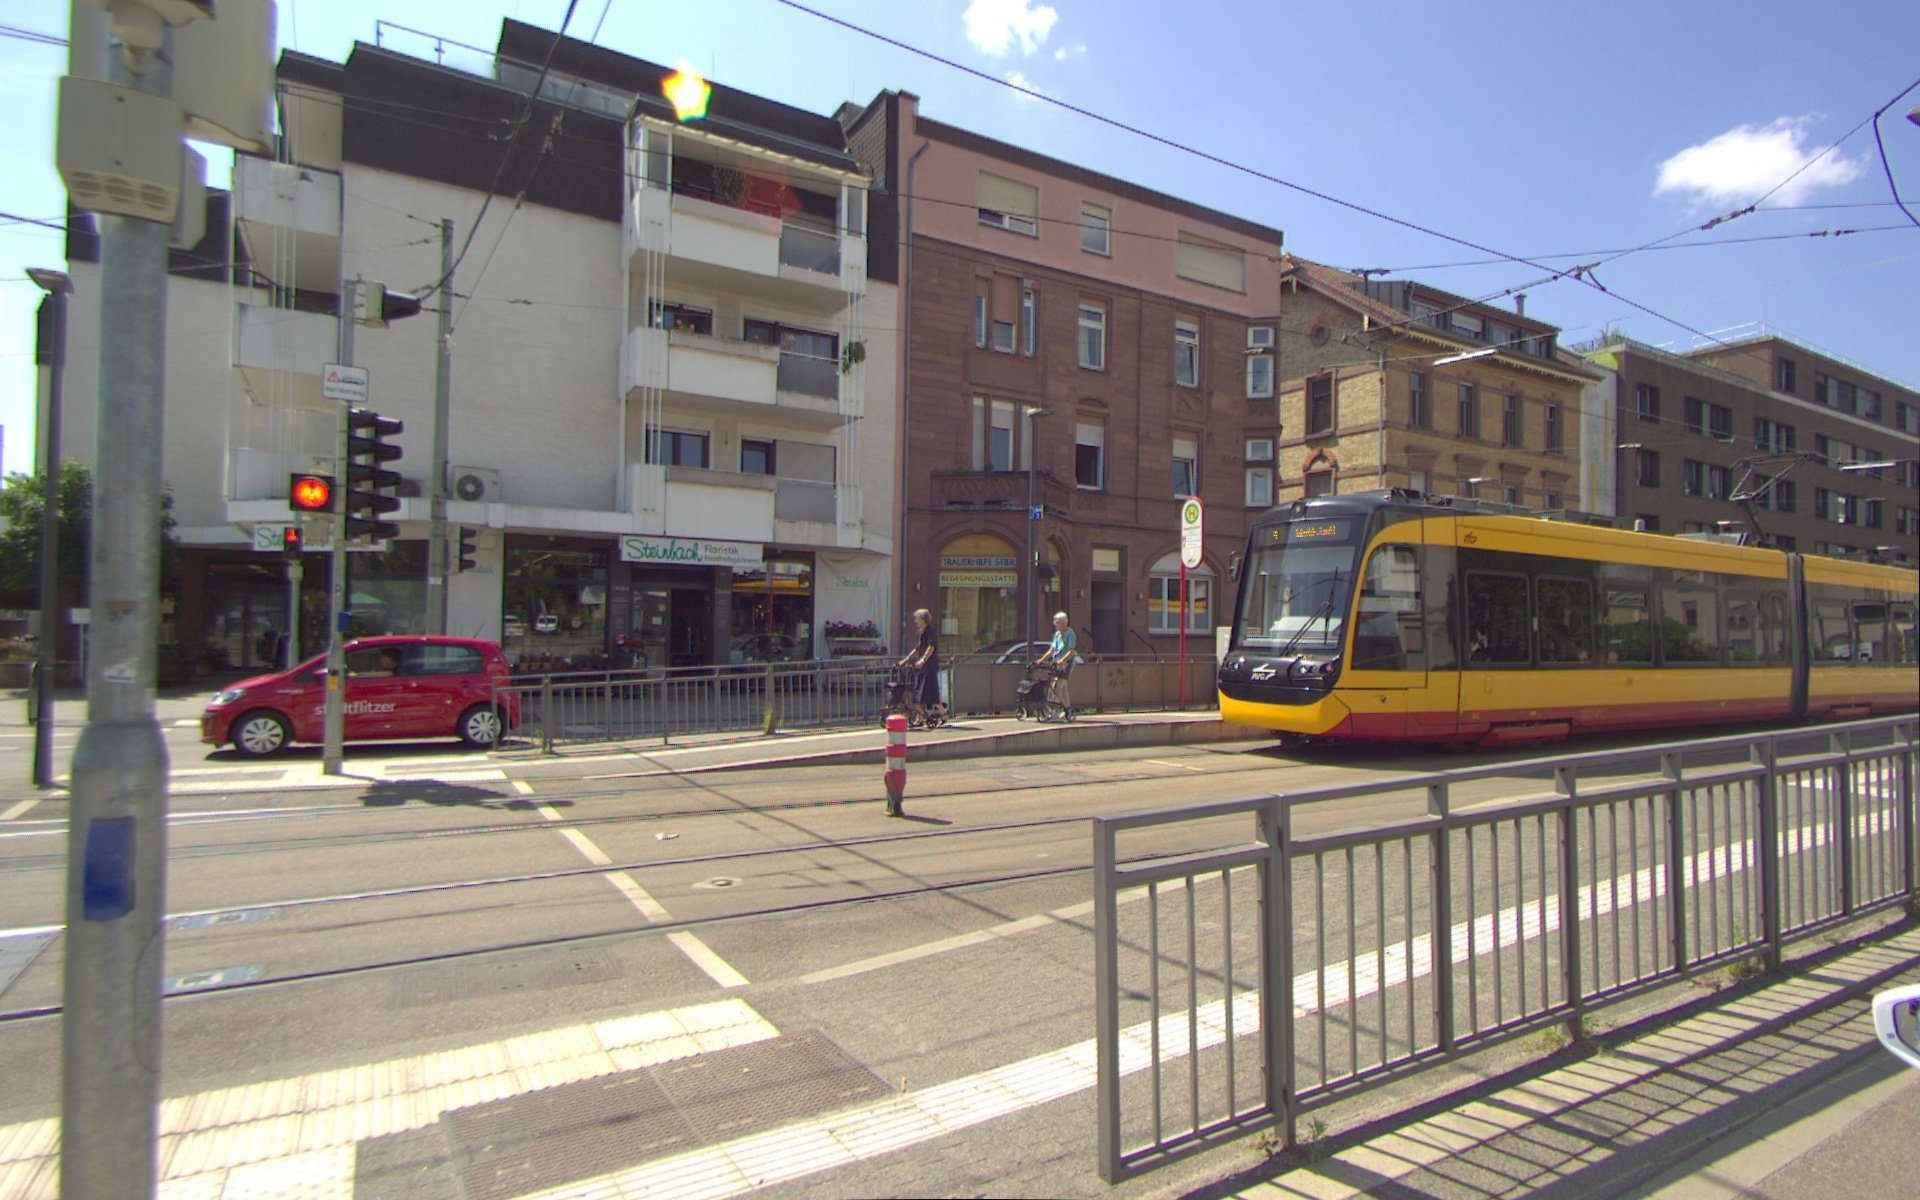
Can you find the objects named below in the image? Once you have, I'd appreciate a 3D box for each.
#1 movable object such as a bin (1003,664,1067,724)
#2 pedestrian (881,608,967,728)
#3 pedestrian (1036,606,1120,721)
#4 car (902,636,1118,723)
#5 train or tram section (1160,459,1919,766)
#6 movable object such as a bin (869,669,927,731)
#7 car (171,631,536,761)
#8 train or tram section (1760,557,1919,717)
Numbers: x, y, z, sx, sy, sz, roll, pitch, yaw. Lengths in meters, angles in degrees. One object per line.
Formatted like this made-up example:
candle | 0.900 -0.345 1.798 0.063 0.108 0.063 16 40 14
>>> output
movable object such as a bin | 1.053 1.300 14.059 0.613 0.790 0.671 2 -2 -32
pedestrian | -0.499 0.925 13.909 0.910 1.580 0.781 2 -2 -31
pedestrian | 1.689 0.902 14.387 0.910 1.580 0.781 2 -2 -31
car | 0.949 1.456 18.704 3.743 1.475 1.644 2 -4 -29
train or tram section | 12.375 0.597 18.535 20.271 3.614 3.234 3 -3 -32
movable object such as a bin | -0.843 1.340 13.635 0.532 0.790 0.671 2 -2 -32
car | -7.695 1.163 13.070 3.809 1.463 1.646 2 -2 -31
train or tram section | 27.764 1.197 28.057 16.166 3.614 3.218 3 -3 -32
